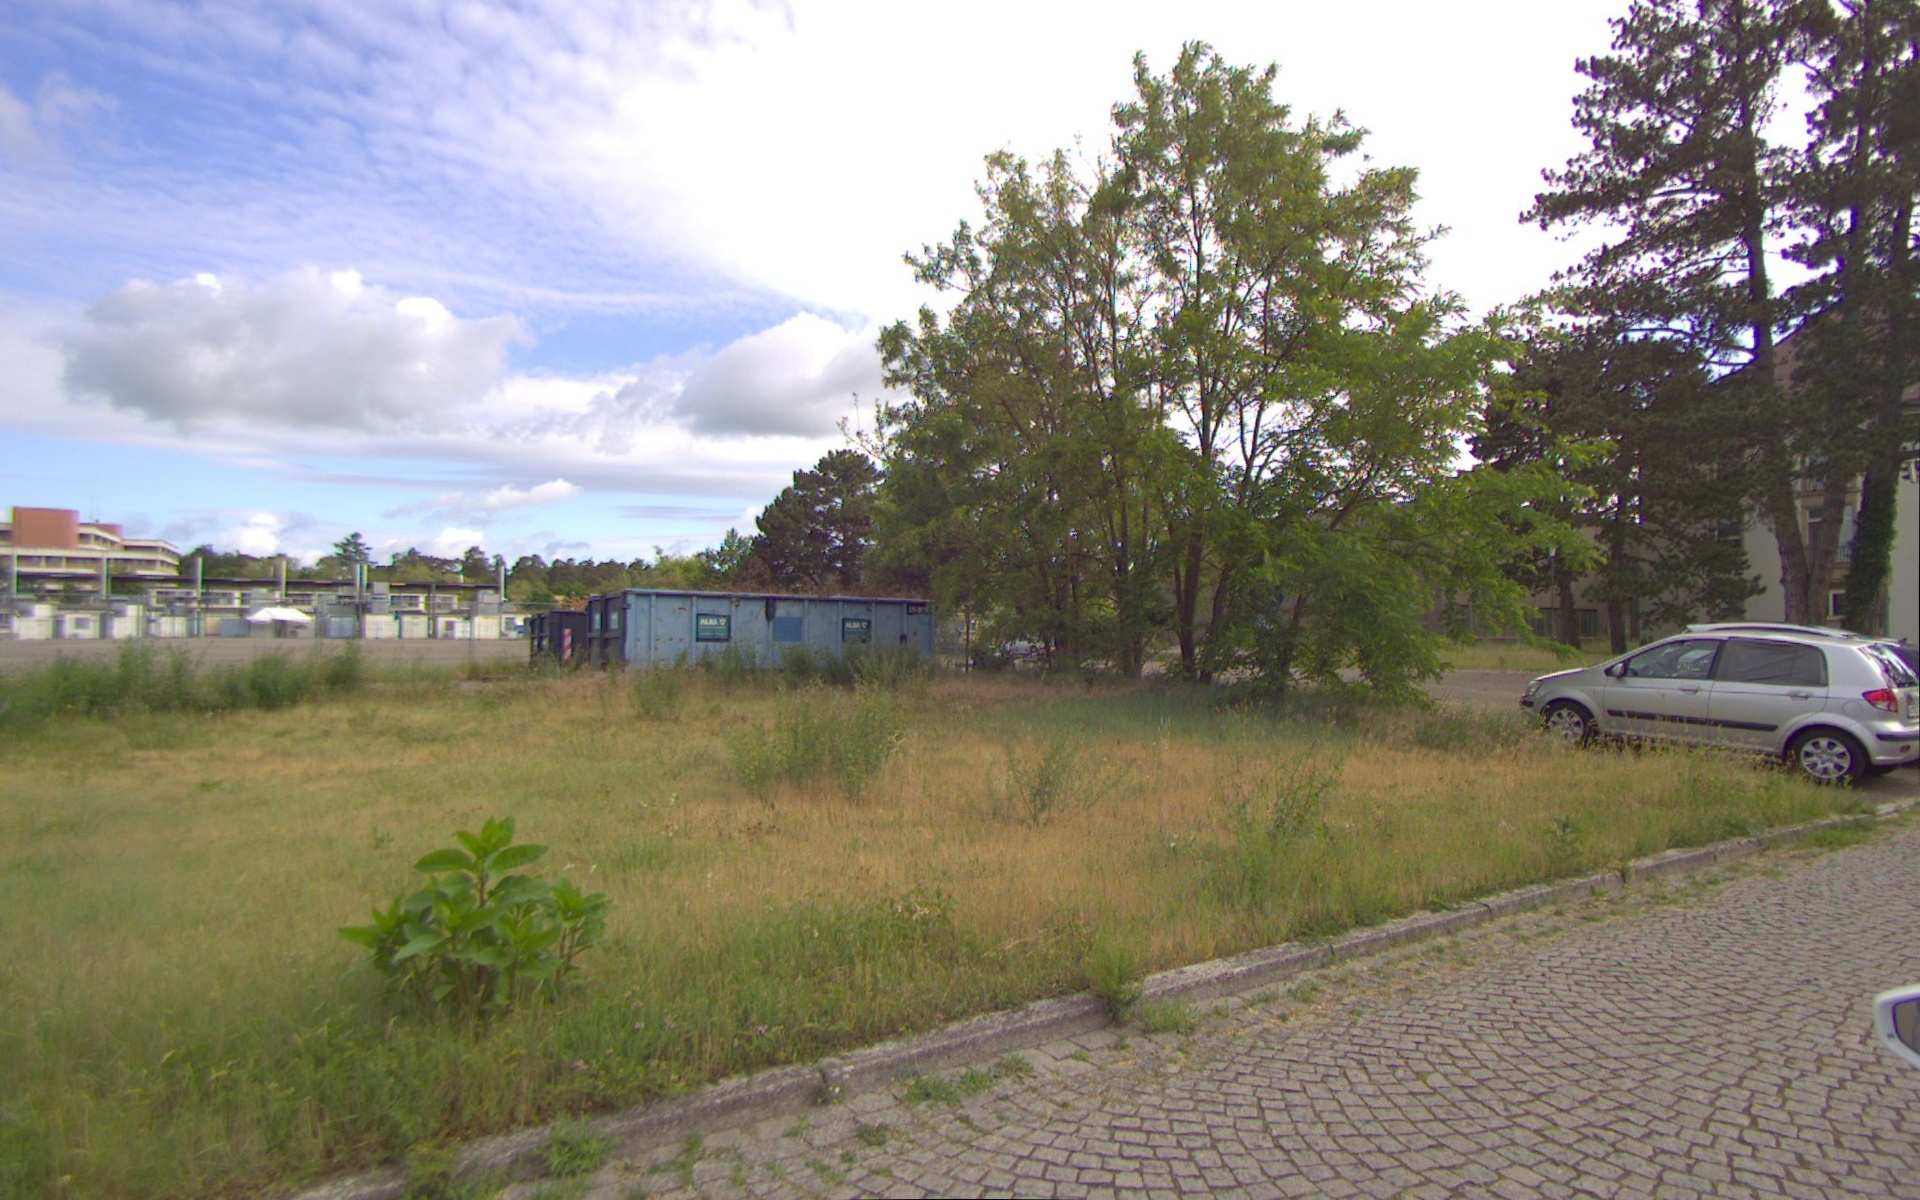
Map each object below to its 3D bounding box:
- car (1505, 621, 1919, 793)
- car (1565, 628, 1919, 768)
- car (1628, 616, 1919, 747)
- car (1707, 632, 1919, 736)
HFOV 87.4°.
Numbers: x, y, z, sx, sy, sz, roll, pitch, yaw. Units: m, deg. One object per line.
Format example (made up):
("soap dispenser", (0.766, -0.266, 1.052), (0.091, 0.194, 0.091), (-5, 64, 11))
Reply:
("car", (8.549, 1.057, 11.508), (1.656, 1.500, 3.697), (1, 0, -34))
("car", (10.589, 1.181, 13.092), (1.795, 1.574, 4.267), (1, -3, -37))
("car", (12.700, 1.150, 14.962), (1.637, 1.755, 4.268), (1, -3, -37))
("car", (14.839, 1.302, 16.110), (1.795, 1.574, 4.267), (1, -3, -37))
